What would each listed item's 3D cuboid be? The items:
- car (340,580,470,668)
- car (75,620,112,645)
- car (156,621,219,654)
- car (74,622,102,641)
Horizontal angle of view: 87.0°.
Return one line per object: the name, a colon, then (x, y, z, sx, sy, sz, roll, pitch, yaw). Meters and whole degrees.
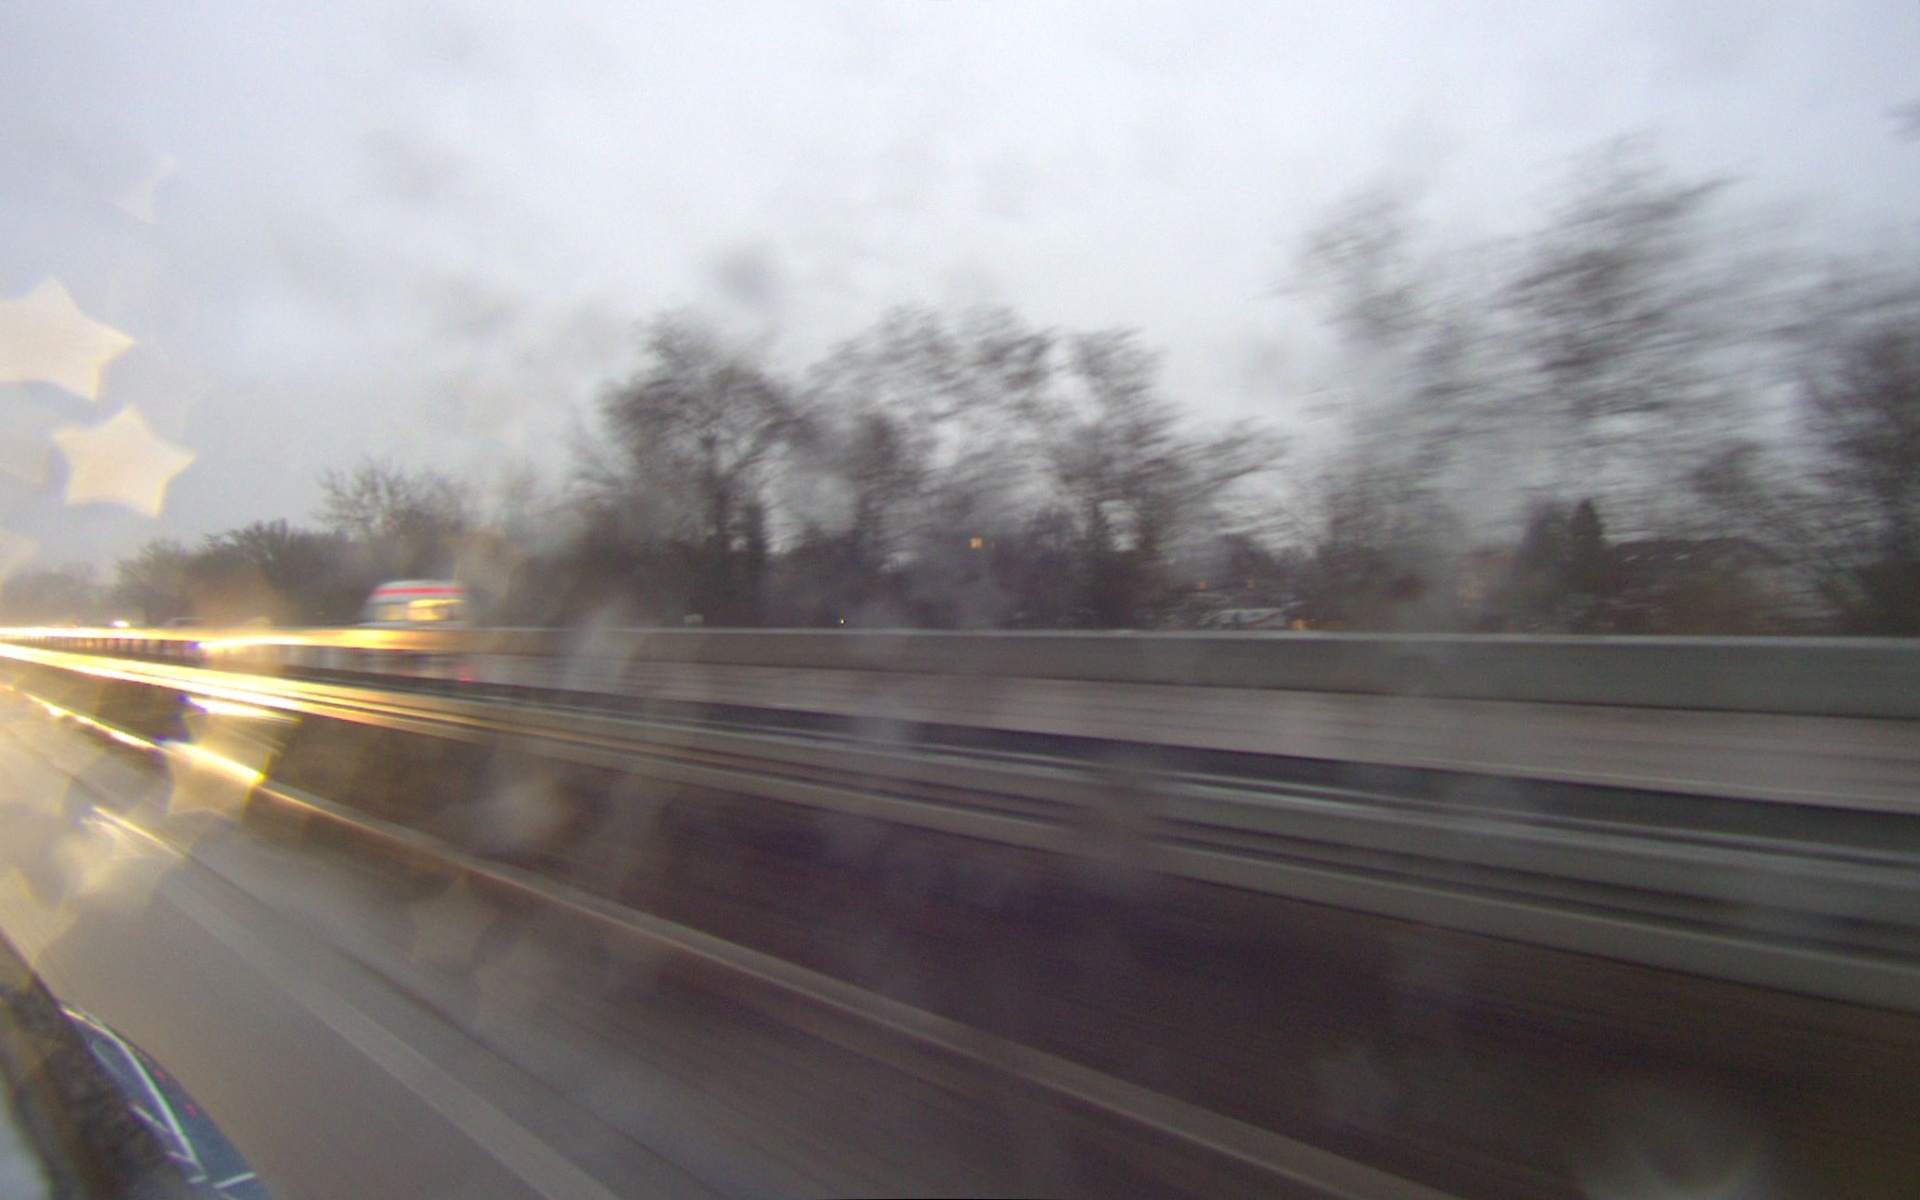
car: (-16.867, 0.719, 30.610, 5.416, 2.455, 1.825, -2, -1, 43)
car: (-70.559, 2.602, 82.355, 4.304, 1.929, 1.825, -2, -1, 43)
car: (-39.116, 1.873, 51.218, 4.304, 1.540, 1.825, -2, -1, 43)
car: (-92.598, 3.307, 107.449, 4.304, 1.929, 1.825, -2, -1, 43)
